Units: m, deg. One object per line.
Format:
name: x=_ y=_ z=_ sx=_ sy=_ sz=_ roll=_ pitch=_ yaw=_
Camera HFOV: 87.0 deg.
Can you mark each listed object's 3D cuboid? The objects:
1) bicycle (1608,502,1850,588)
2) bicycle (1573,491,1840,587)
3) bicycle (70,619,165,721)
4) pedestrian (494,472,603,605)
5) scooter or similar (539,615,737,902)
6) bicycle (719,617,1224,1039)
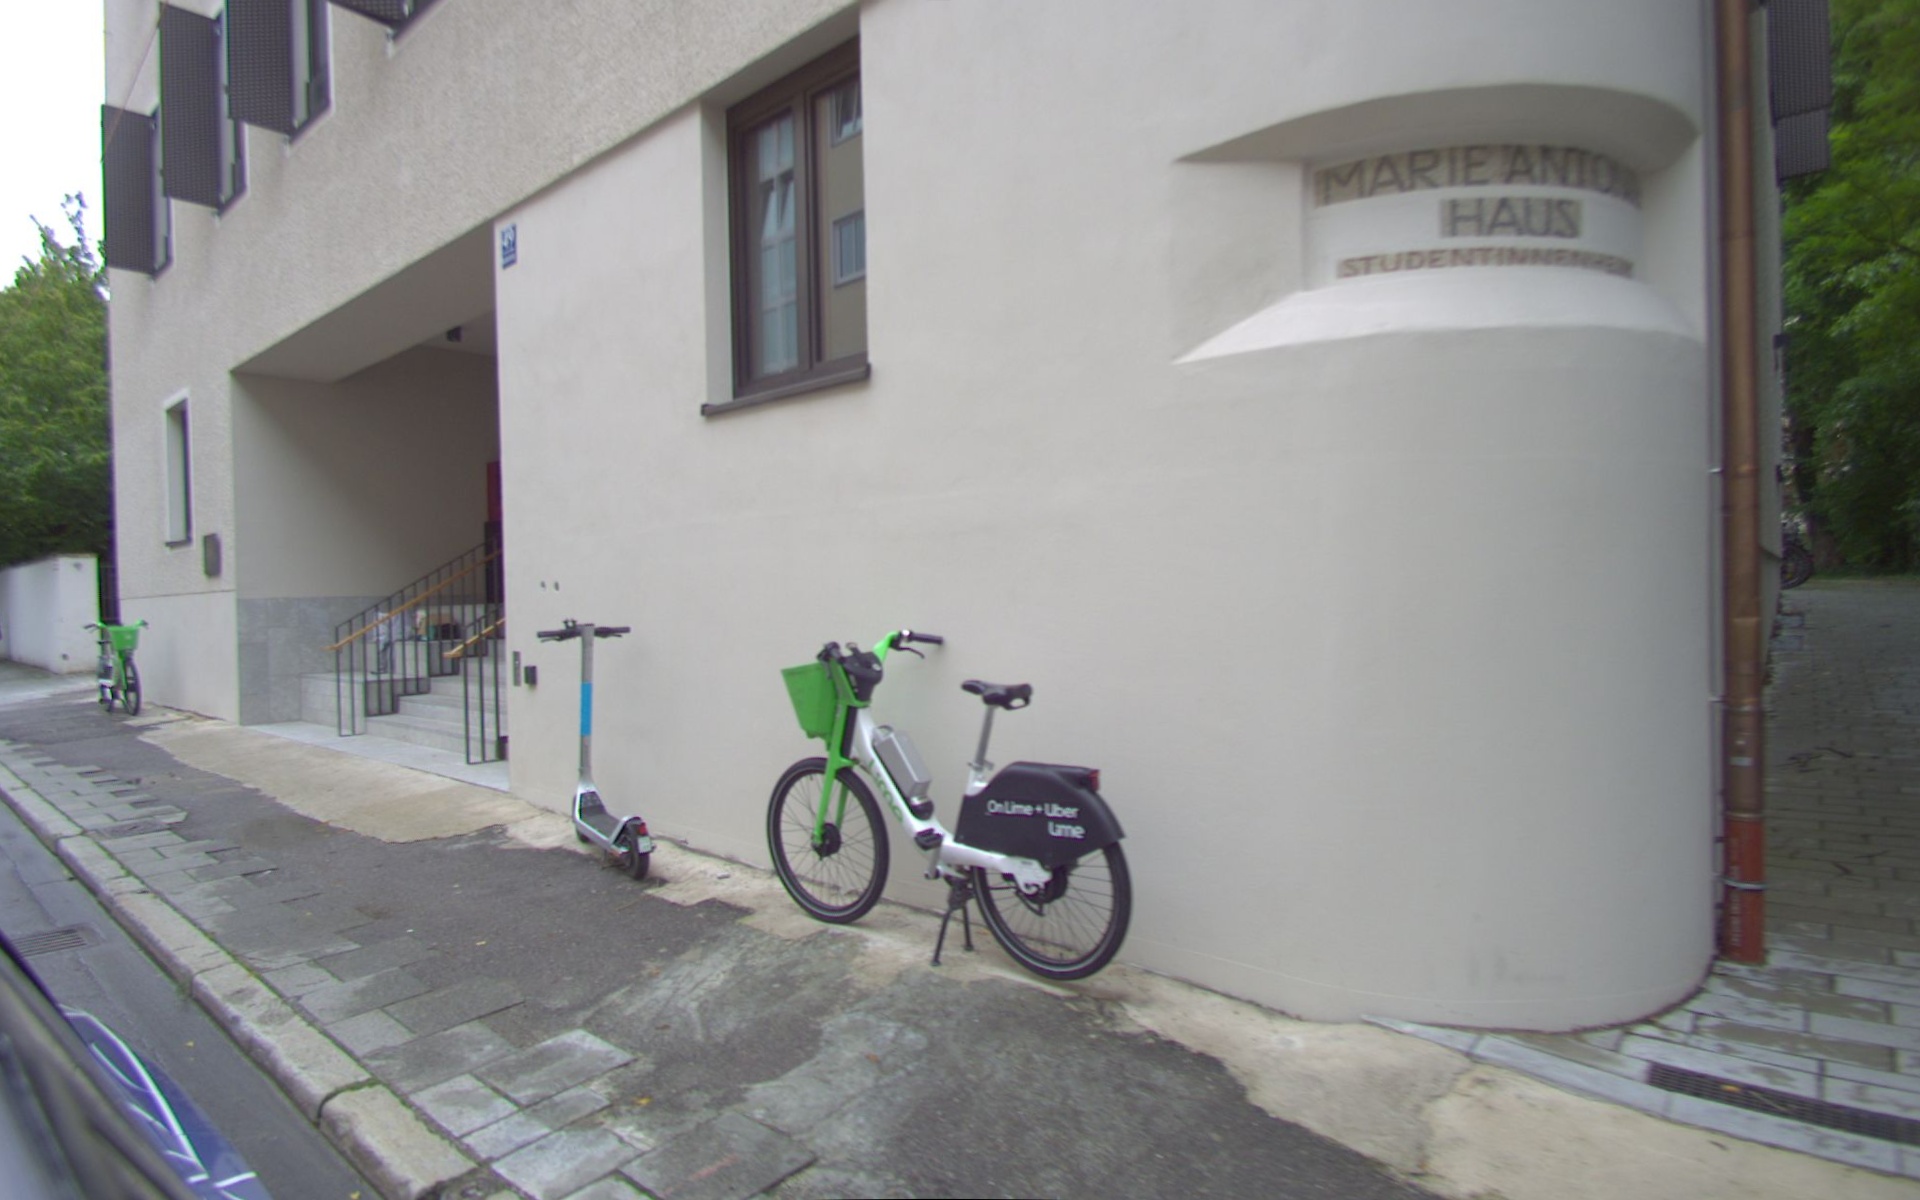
bicycle: x=13.167 y=-0.887 z=17.435 sx=3.243 sy=1.307 sz=1.142 roll=0 pitch=0 yaw=42
bicycle: x=11.512 y=-0.870 z=15.725 sx=3.243 sy=1.307 sz=1.142 roll=0 pitch=0 yaw=42
bicycle: x=-10.436 y=0.822 z=12.512 sx=1.915 sy=1.147 sz=0.532 roll=-1 pitch=2 yaw=40
pedestrian: x=-4.885 y=-0.698 z=12.017 sx=0.994 sy=1.495 sz=0.760 roll=0 pitch=0 yaw=-42
scooter or similar: x=-1.633 y=0.684 z=5.004 sx=0.544 sy=1.152 sz=1.362 roll=-4 pitch=3 yaw=-32
bicycle: x=-0.051 y=0.662 z=3.677 sx=1.880 sy=1.170 sz=0.539 roll=-1 pitch=2 yaw=40
